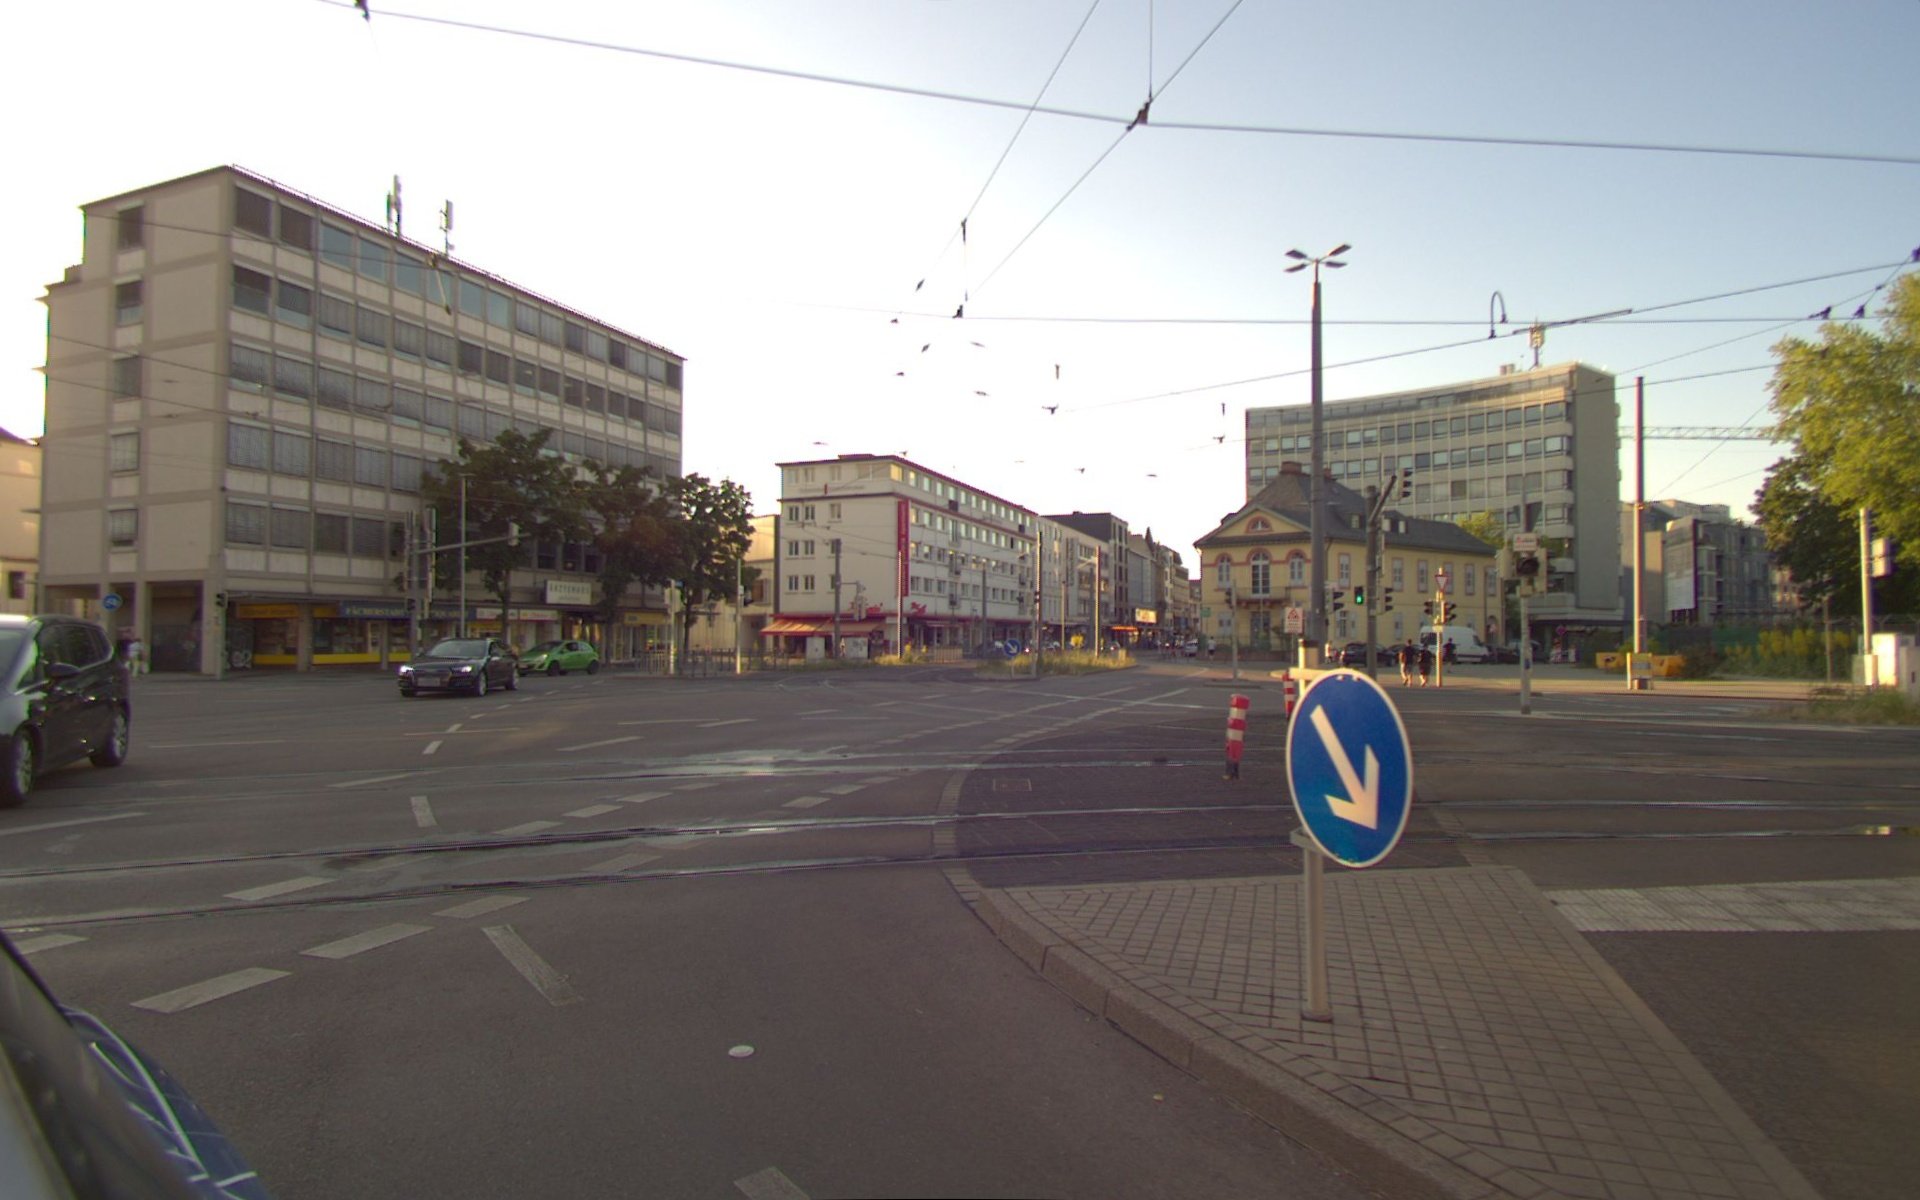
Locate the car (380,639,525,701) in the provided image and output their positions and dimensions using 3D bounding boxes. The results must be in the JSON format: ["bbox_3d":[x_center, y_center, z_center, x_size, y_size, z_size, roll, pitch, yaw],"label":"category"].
[{"bbox_3d":[-12.537,1.696,25.315,1.823,1.419,4.230,0,-2,-6],"label":"car"}]

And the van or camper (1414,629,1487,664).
[{"bbox_3d":[33.016,3.109,68.029,5.029,2.319,2.006,1,-3,-32],"label":"van or camper"}]

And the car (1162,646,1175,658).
[{"bbox_3d":[34.787,8.698,168.864,1.980,2.029,3.984,0,-2,12],"label":"car"}]

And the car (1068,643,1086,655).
[{"bbox_3d":[13.392,5.599,115.720,1.553,1.286,3.404,-1,-2,17],"label":"car"}]

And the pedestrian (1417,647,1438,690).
[{"bbox_3d":[17.000,2.490,36.811,0.586,1.522,0.650,-1,-4,21],"label":"pedestrian"}]

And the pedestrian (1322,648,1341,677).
[{"bbox_3d":[18.150,3.053,49.451,0.580,1.351,0.657,1,-1,-29],"label":"pedestrian"}]

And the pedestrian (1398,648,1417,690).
[{"bbox_3d":[16.436,2.521,37.203,0.586,1.522,0.650,-1,-4,21],"label":"pedestrian"}]

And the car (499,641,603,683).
[{"bbox_3d":[-16.472,2.469,40.965,1.735,1.578,3.998,-1,-3,19],"label":"car"}]

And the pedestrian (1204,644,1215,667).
[{"bbox_3d":[16.414,3.640,66.538,0.586,1.522,0.650,-1,-4,23],"label":"pedestrian"}]

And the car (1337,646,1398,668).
[{"bbox_3d":[24.967,3.452,62.034,3.528,1.286,1.856,2,-3,-35],"label":"car"}]

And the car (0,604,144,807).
[{"bbox_3d":[-9.197,0.898,9.194,1.770,1.631,4.401,1,-3,-25],"label":"car"}]
